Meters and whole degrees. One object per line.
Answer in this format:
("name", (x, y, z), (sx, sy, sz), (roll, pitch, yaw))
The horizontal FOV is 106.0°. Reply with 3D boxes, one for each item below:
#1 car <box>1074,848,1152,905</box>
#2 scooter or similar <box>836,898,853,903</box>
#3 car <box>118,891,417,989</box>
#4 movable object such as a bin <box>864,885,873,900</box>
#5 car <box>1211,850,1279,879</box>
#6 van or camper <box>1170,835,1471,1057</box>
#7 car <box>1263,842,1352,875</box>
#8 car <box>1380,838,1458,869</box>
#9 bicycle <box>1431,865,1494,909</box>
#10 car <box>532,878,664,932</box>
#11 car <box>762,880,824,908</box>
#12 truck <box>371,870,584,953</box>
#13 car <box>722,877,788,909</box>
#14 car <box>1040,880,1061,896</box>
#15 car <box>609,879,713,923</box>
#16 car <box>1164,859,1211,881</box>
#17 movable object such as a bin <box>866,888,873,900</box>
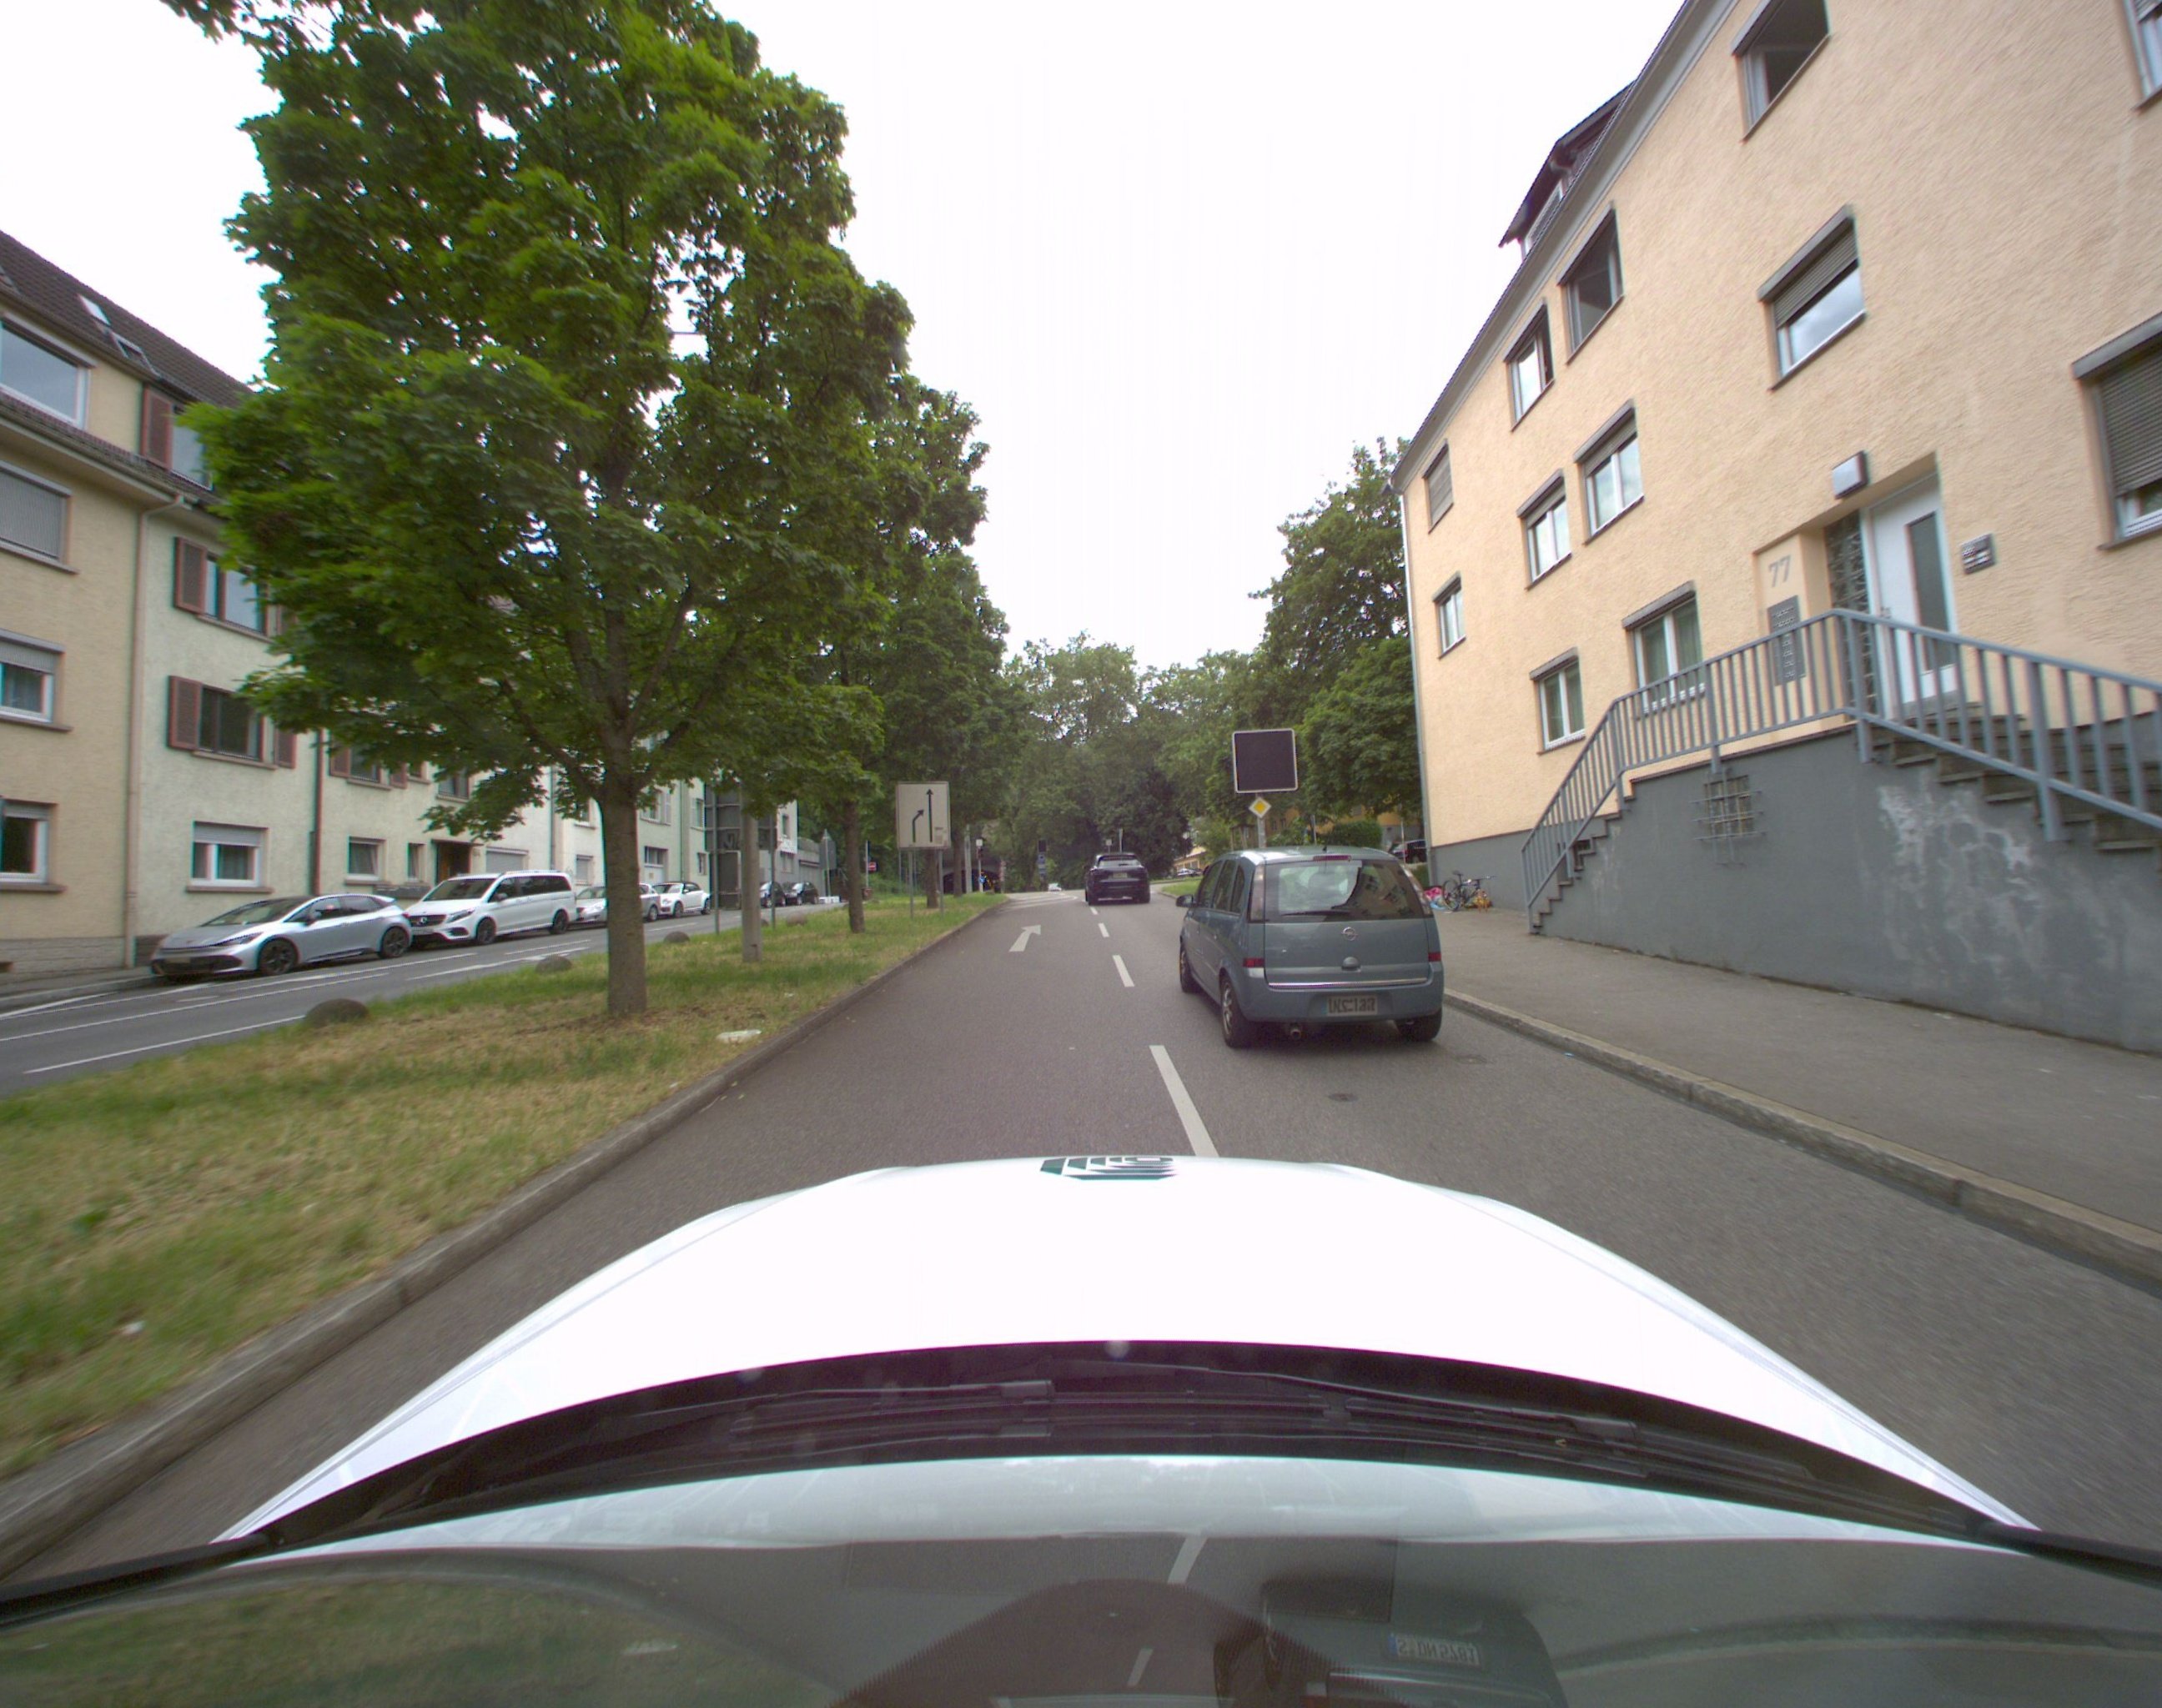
("car", (0.983, 0.761, 27.185), (1.991, 1.653, 3.991), (-3, -1, -6))
("scooter or similar", (-16.189, 3.183, 55.734), (1.126, 0.288, 1.093), (-3, -3, -17))
("car", (-16.357, 1.636, 16.761), (1.988, 1.552, 4.154), (-3, -1, -2))
("movable object such as a bin", (-17.002, 3.050, 65.119), (0.606, 1.186, 0.489), (1, -4, -16))
("car", (9.650, 0.610, 47.749), (1.975, 1.418, 4.024), (-4, -1, 43))
("van or camper", (1.950, 0.681, 7.760), (1.730, 1.578, 3.644), (-1, 0, -1))
("car", (11.915, 0.249, 42.955), (4.121, 1.428, 1.855), (-4, 0, -13))
("car", (19.345, -0.040, 46.584), (4.140, 1.428, 1.722), (-4, -2, -27))
("bicycle", (7.313, 0.623, 15.680), (0.486, 0.773, 1.558), (-3, -1, 2))
("car", (-16.503, 1.695, 28.145), (1.988, 1.552, 4.378), (-3, -1, -2))
("car", (-16.862, 2.317, 47.896), (1.988, 1.400, 4.516), (-3, -2, -1))
("truck", (-16.431, 1.470, 22.642), (1.988, 1.920, 5.343), (-3, -1, -2))
("car", (-17.066, 2.009, 42.843), (1.990, 1.423, 4.204), (-3, -1, -5))
("car", (-3.131, 3.513, 82.692), (1.783, 1.442, 5.050), (-3, -3, -7))
("car", (-16.783, 1.839, 32.809), (1.988, 1.474, 4.156), (-3, -1, -1))
("car", (9.464, 1.464, 72.625), (2.001, 1.578, 4.869), (-3, -3, -21))
("movable object such as a bin", (-16.798, 3.200, 64.689), (0.517, 0.968, 0.442), (1, -4, -16))
